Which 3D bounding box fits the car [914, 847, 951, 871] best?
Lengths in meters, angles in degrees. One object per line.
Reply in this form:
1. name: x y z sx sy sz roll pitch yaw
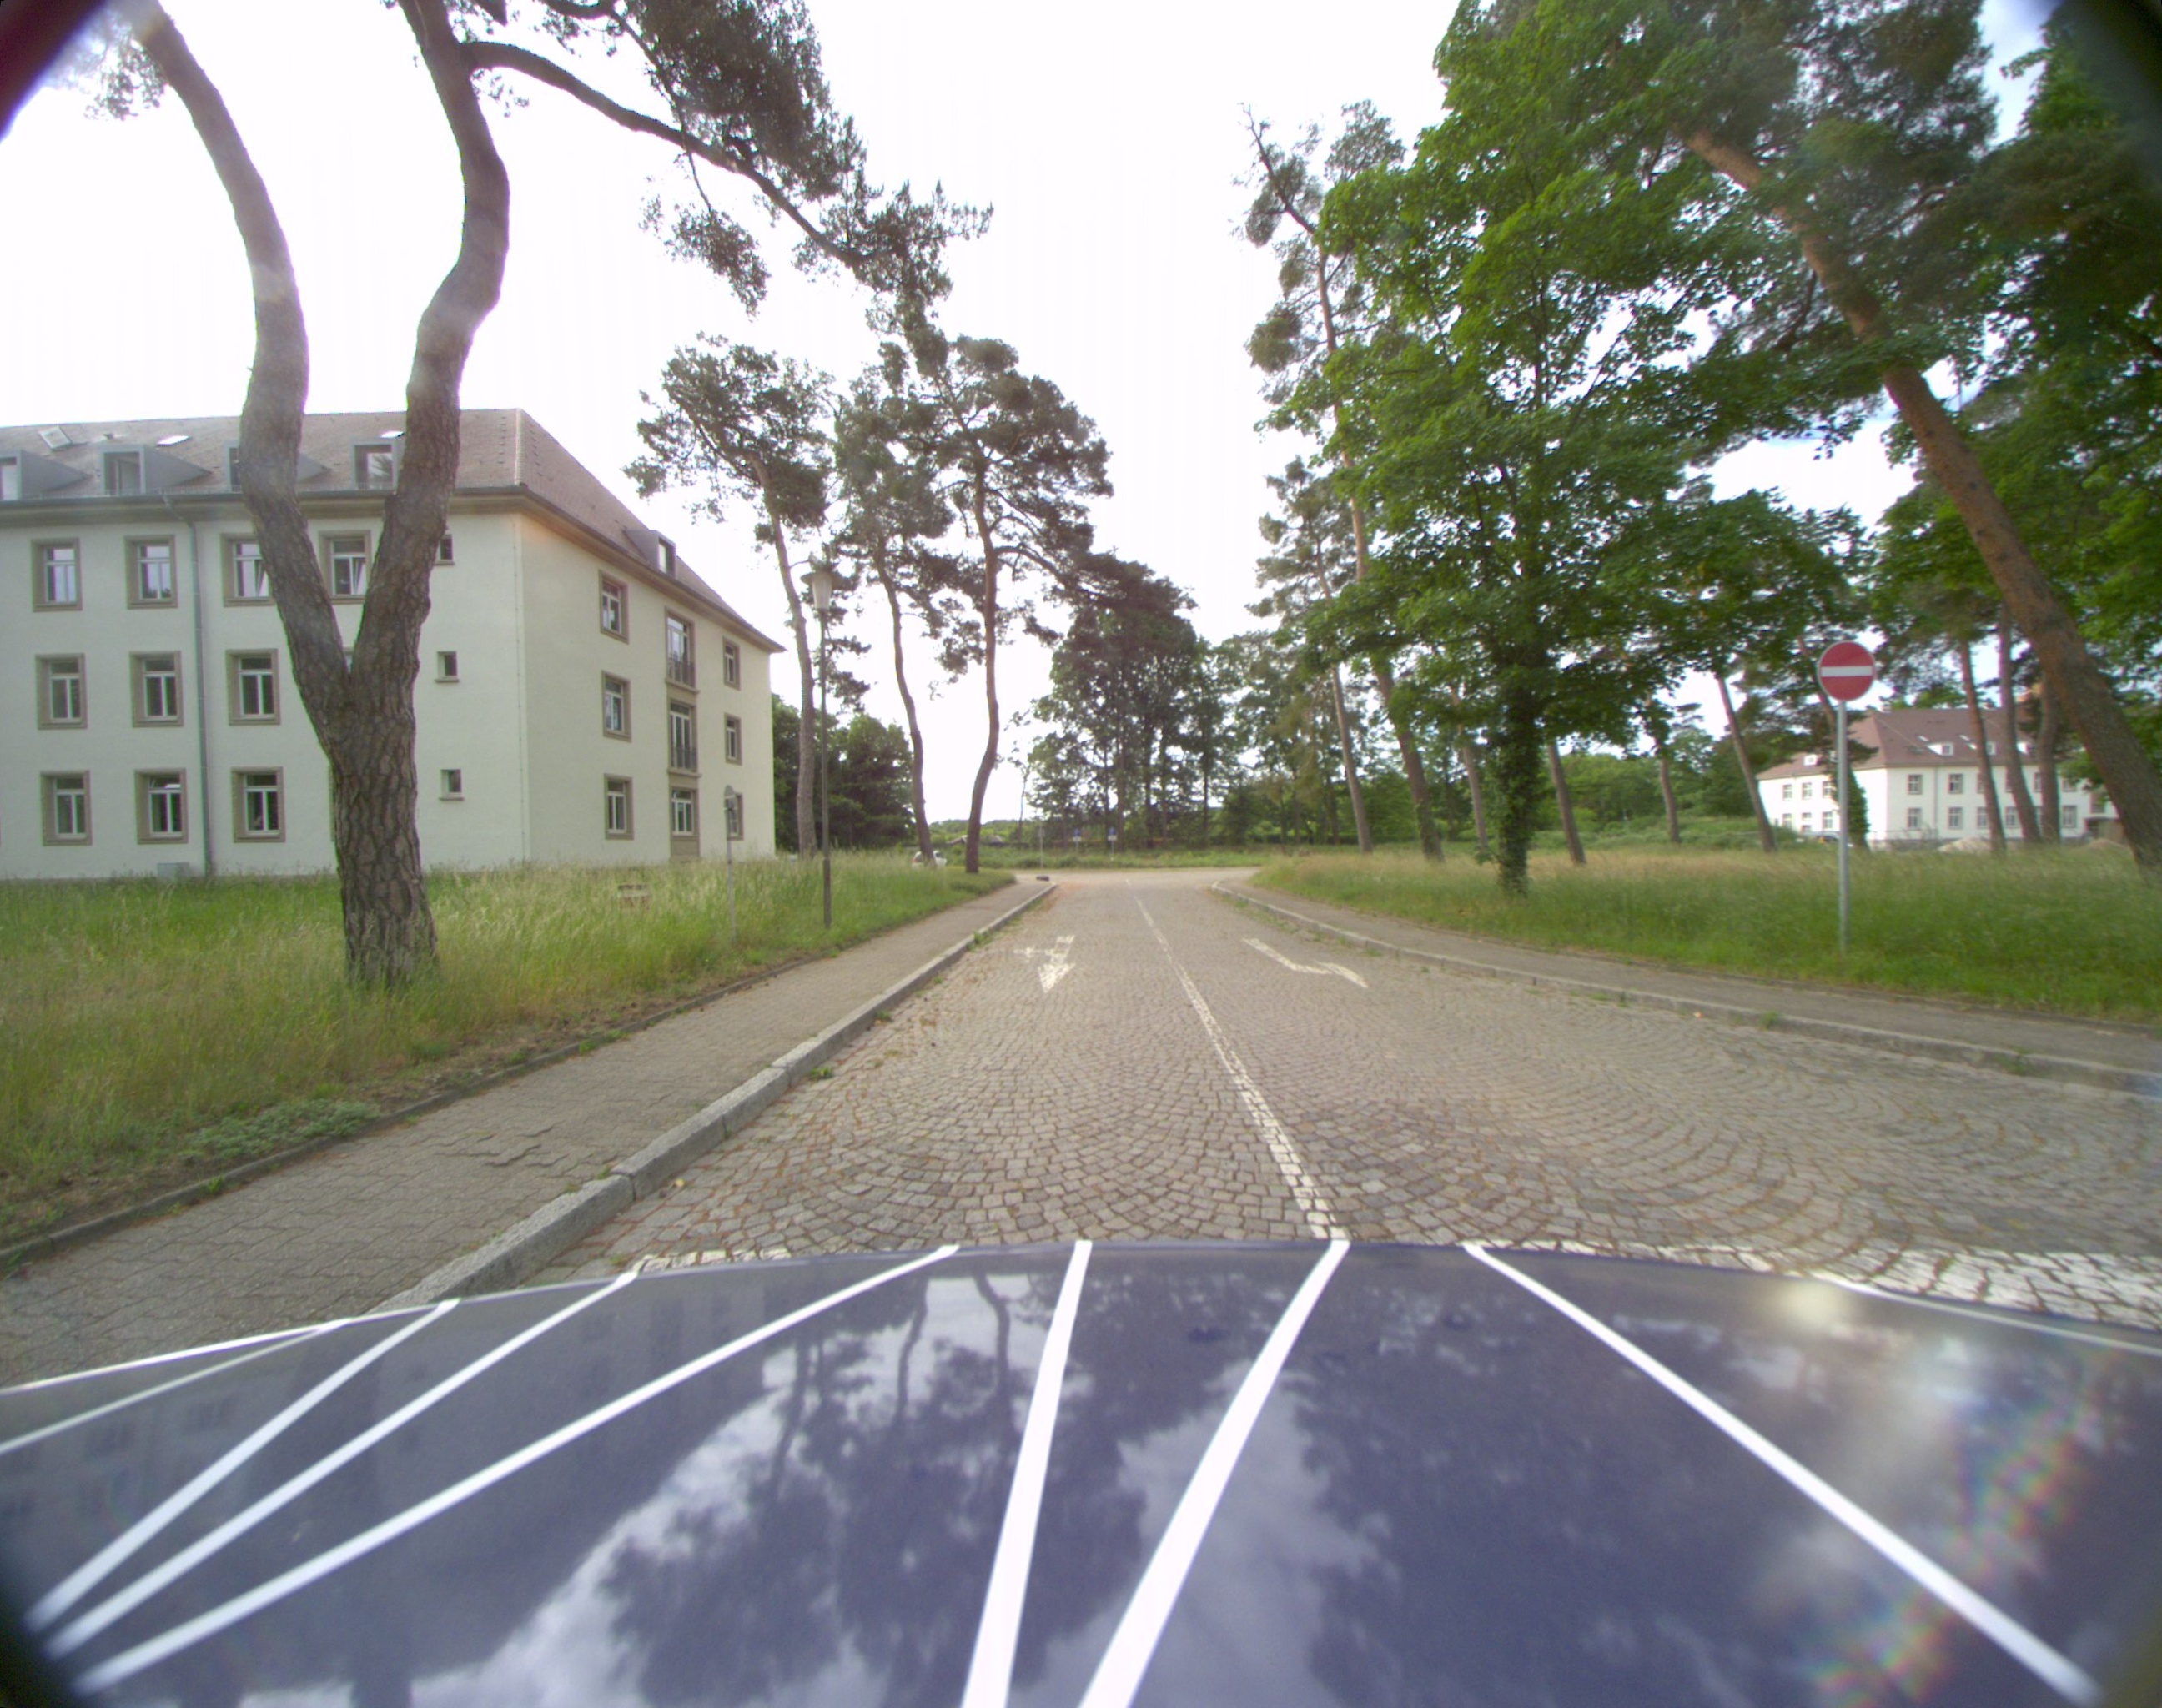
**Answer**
1. car: -9.790 0.311 50.401 1.640 1.426 3.277 -1 3 3
